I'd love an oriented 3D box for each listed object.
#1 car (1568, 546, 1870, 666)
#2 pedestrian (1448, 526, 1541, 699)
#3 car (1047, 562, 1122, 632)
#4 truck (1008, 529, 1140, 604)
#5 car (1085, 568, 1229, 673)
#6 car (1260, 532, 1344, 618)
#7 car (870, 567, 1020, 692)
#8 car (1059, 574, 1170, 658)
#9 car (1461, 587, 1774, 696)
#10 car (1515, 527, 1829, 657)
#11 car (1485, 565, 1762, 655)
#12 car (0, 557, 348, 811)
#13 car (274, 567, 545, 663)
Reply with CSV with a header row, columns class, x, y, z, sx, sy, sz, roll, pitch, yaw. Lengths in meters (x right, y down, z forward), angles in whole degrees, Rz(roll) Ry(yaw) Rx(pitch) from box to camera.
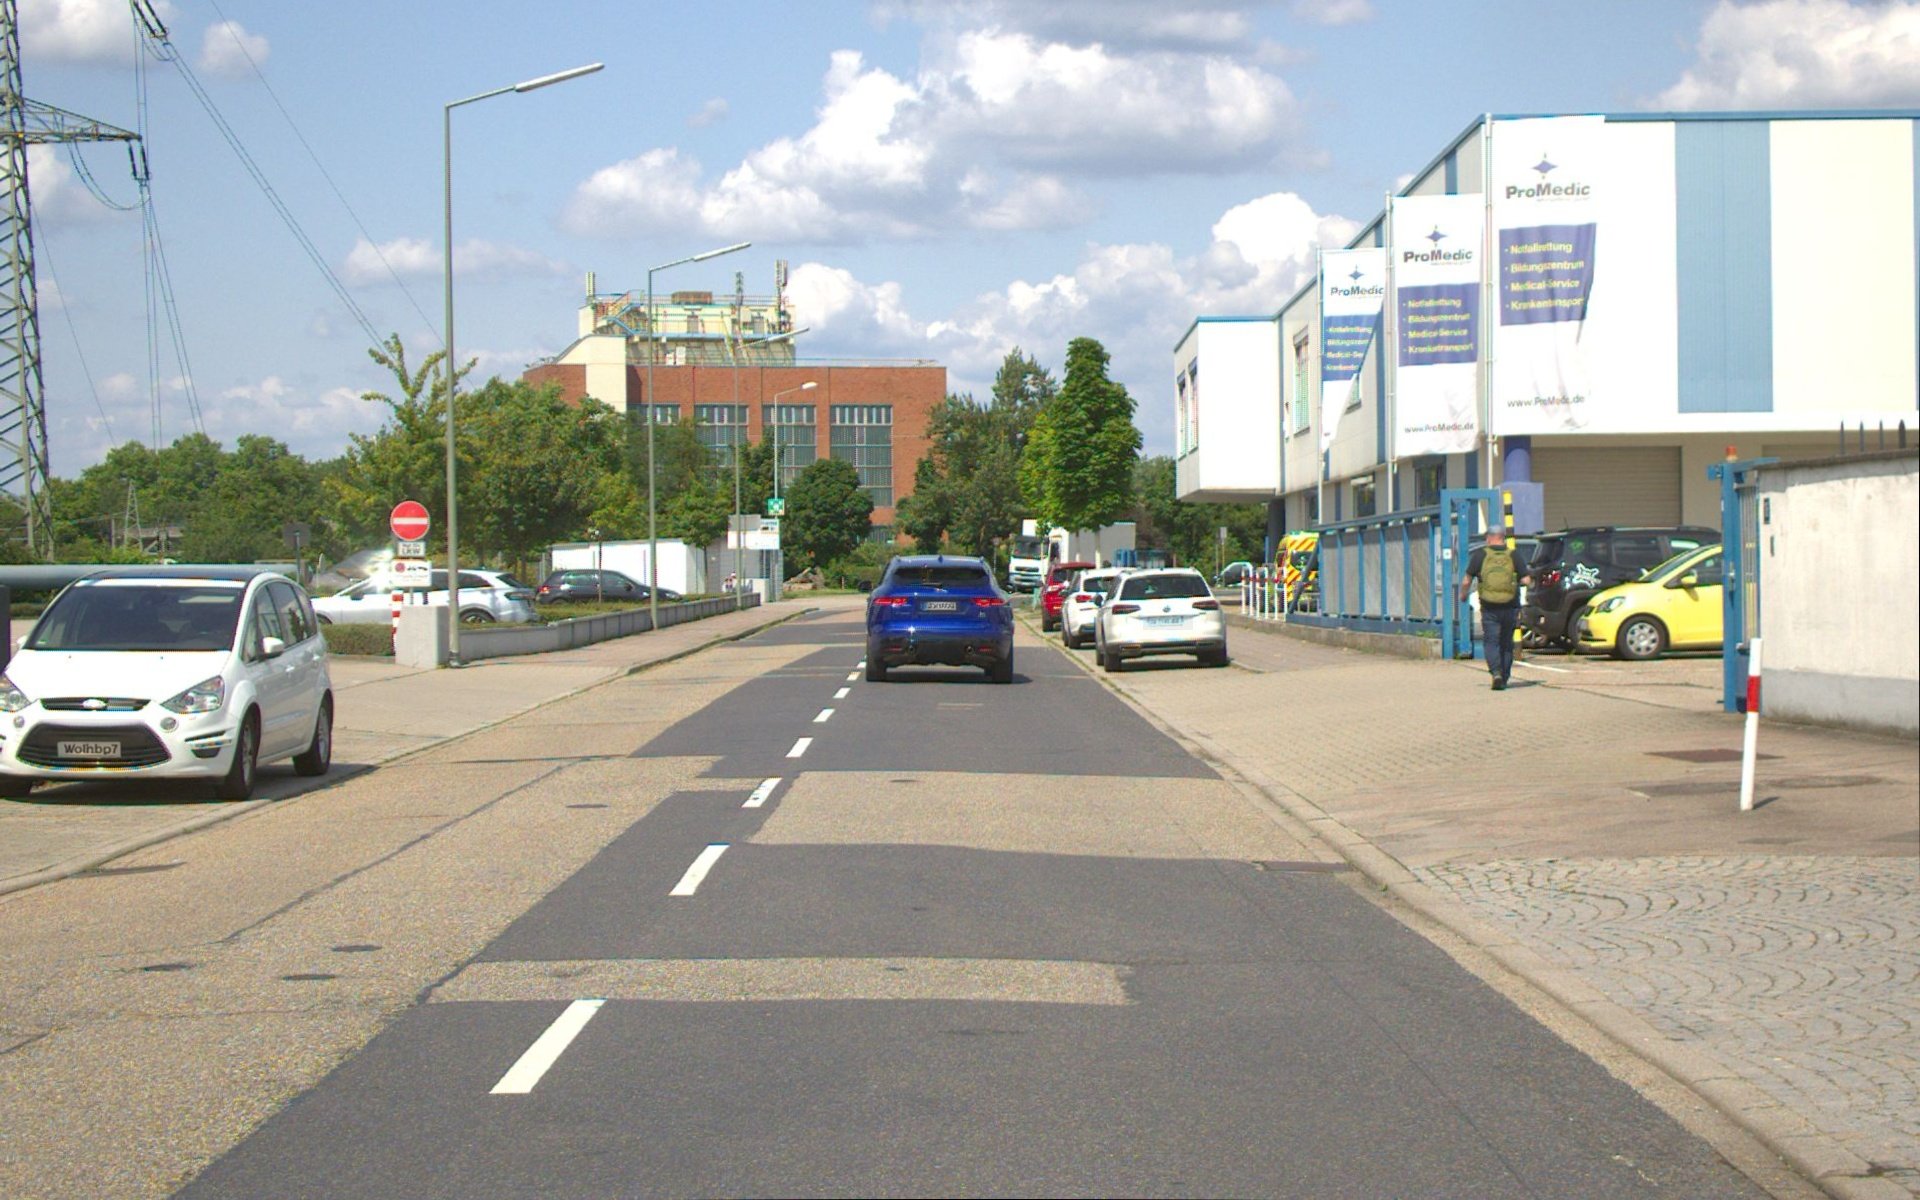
class,x,y,z,sx,sy,sz,roll,pitch,yaw
car,9.543,0.071,43.382,3.403,1.485,1.791,0,0,0
pedestrian,5.562,0.126,35.817,0.769,1.750,0.787,-2,0,-1
car,3.014,-0.078,83.624,1.755,1.645,4.677,0,0,2
truck,5.700,-1.729,170.104,2.325,3.555,9.351,2,2,31
car,2.940,0.295,52.222,1.867,1.515,4.598,0,0,-1
car,10.038,-0.713,101.211,1.924,2.455,5.259,0,0,0
car,-0.214,0.370,46.236,1.909,1.588,4.701,0,0,-1
car,2.880,0.289,64.709,1.835,1.515,4.461,0,0,-1
car,9.171,0.566,48.197,3.987,1.415,2.000,-1,1,1
car,9.429,-0.107,45.722,3.806,1.674,1.791,0,0,0
car,11.178,0.153,58.134,4.279,1.415,2.000,-1,1,1
car,-5.902,0.557,25.620,1.867,1.702,4.753,1,0,-1
car,-10.205,0.270,63.995,4.754,1.597,2.000,-2,0,-3
